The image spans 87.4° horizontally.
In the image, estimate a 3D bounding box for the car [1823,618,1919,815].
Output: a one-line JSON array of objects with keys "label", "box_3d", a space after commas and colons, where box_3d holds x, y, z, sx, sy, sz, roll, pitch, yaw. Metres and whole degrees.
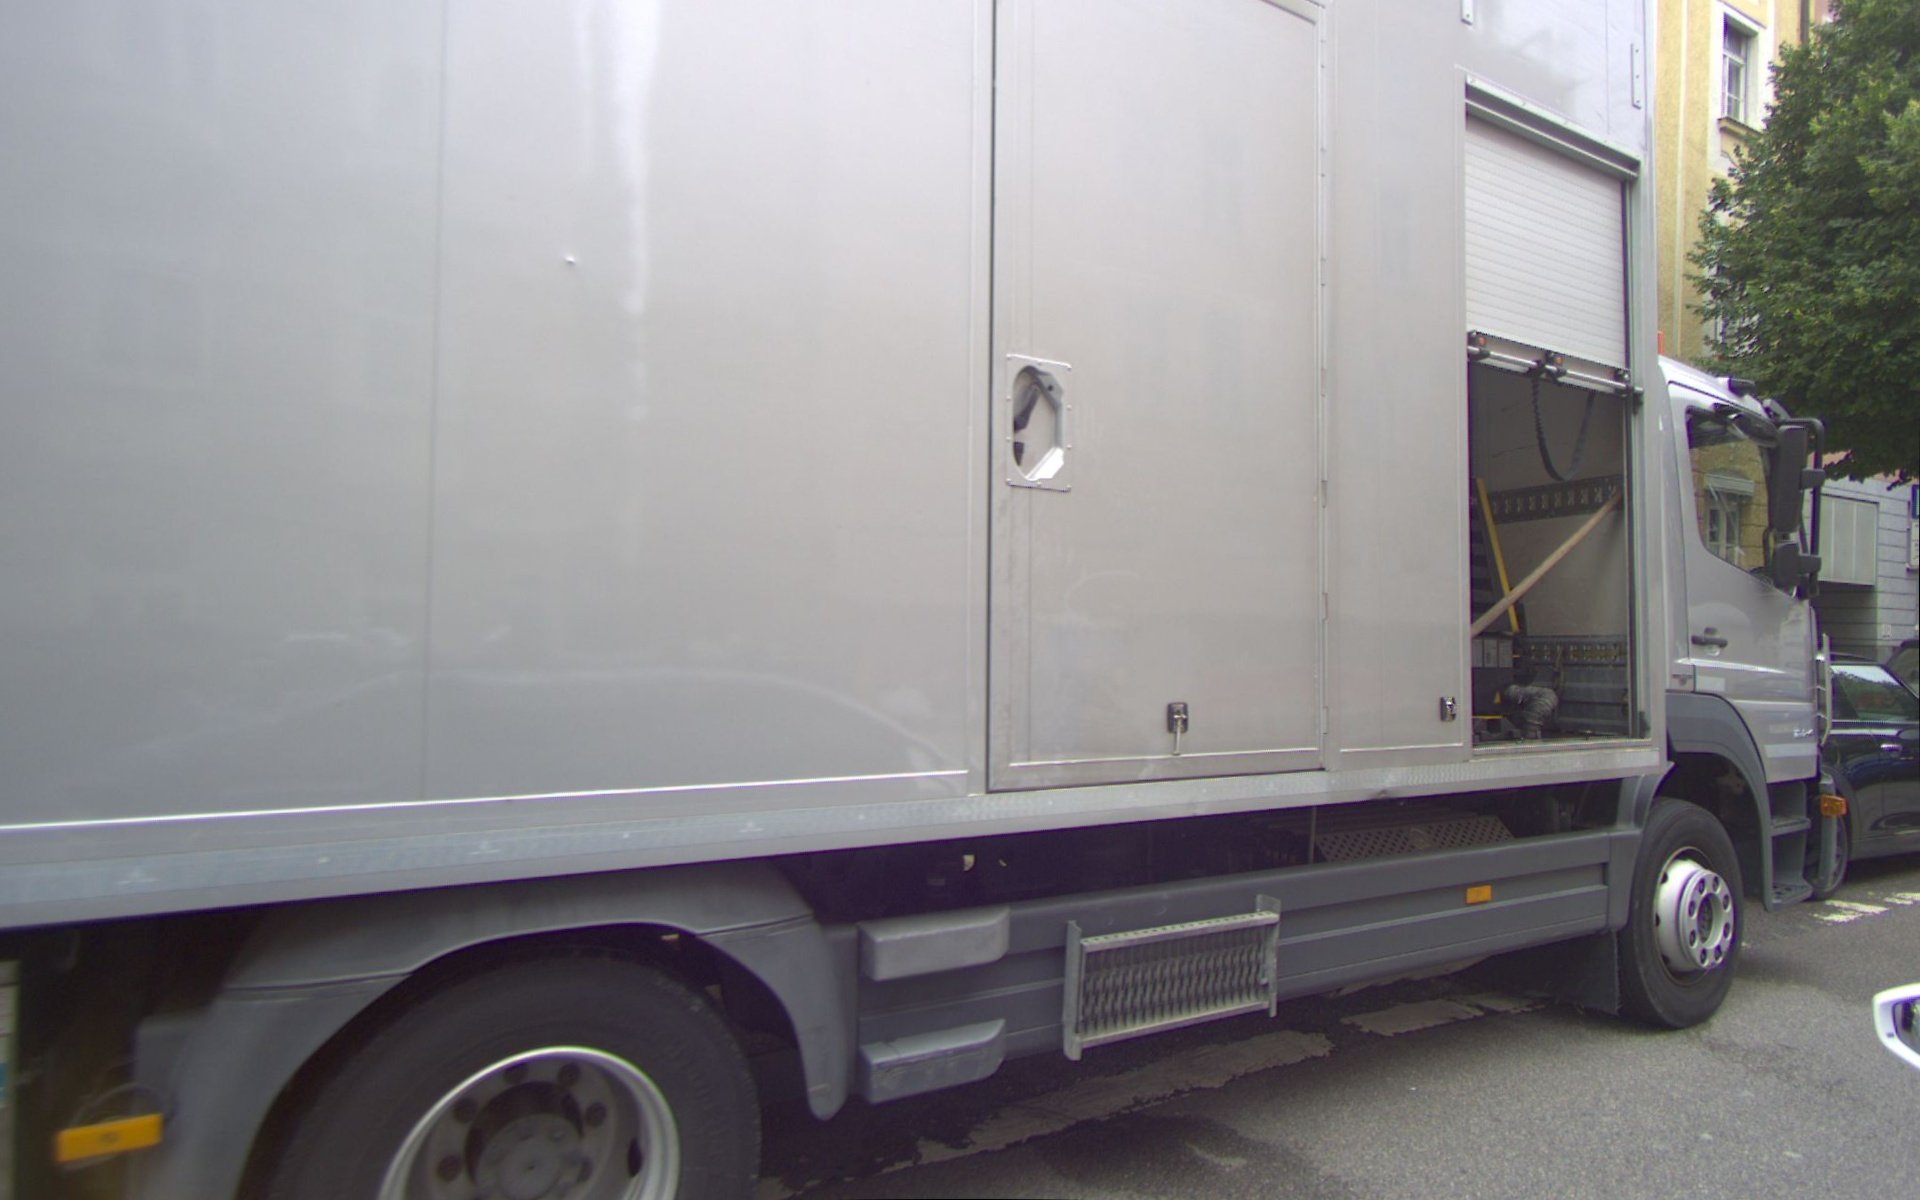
[{"label": "car", "box_3d": [10.004, 1.029, 9.210, 4.132, 1.650, 1.778, 2, -1, -27]}]

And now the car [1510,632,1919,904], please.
[{"label": "car", "box_3d": [5.807, 0.985, 6.990, 3.660, 1.428, 1.693, 2, -1, -26]}]

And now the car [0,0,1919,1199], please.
[{"label": "car", "box_3d": [-0.013, -0.436, 3.560, 8.616, 3.868, 2.801, 2, -1, -29]}]
